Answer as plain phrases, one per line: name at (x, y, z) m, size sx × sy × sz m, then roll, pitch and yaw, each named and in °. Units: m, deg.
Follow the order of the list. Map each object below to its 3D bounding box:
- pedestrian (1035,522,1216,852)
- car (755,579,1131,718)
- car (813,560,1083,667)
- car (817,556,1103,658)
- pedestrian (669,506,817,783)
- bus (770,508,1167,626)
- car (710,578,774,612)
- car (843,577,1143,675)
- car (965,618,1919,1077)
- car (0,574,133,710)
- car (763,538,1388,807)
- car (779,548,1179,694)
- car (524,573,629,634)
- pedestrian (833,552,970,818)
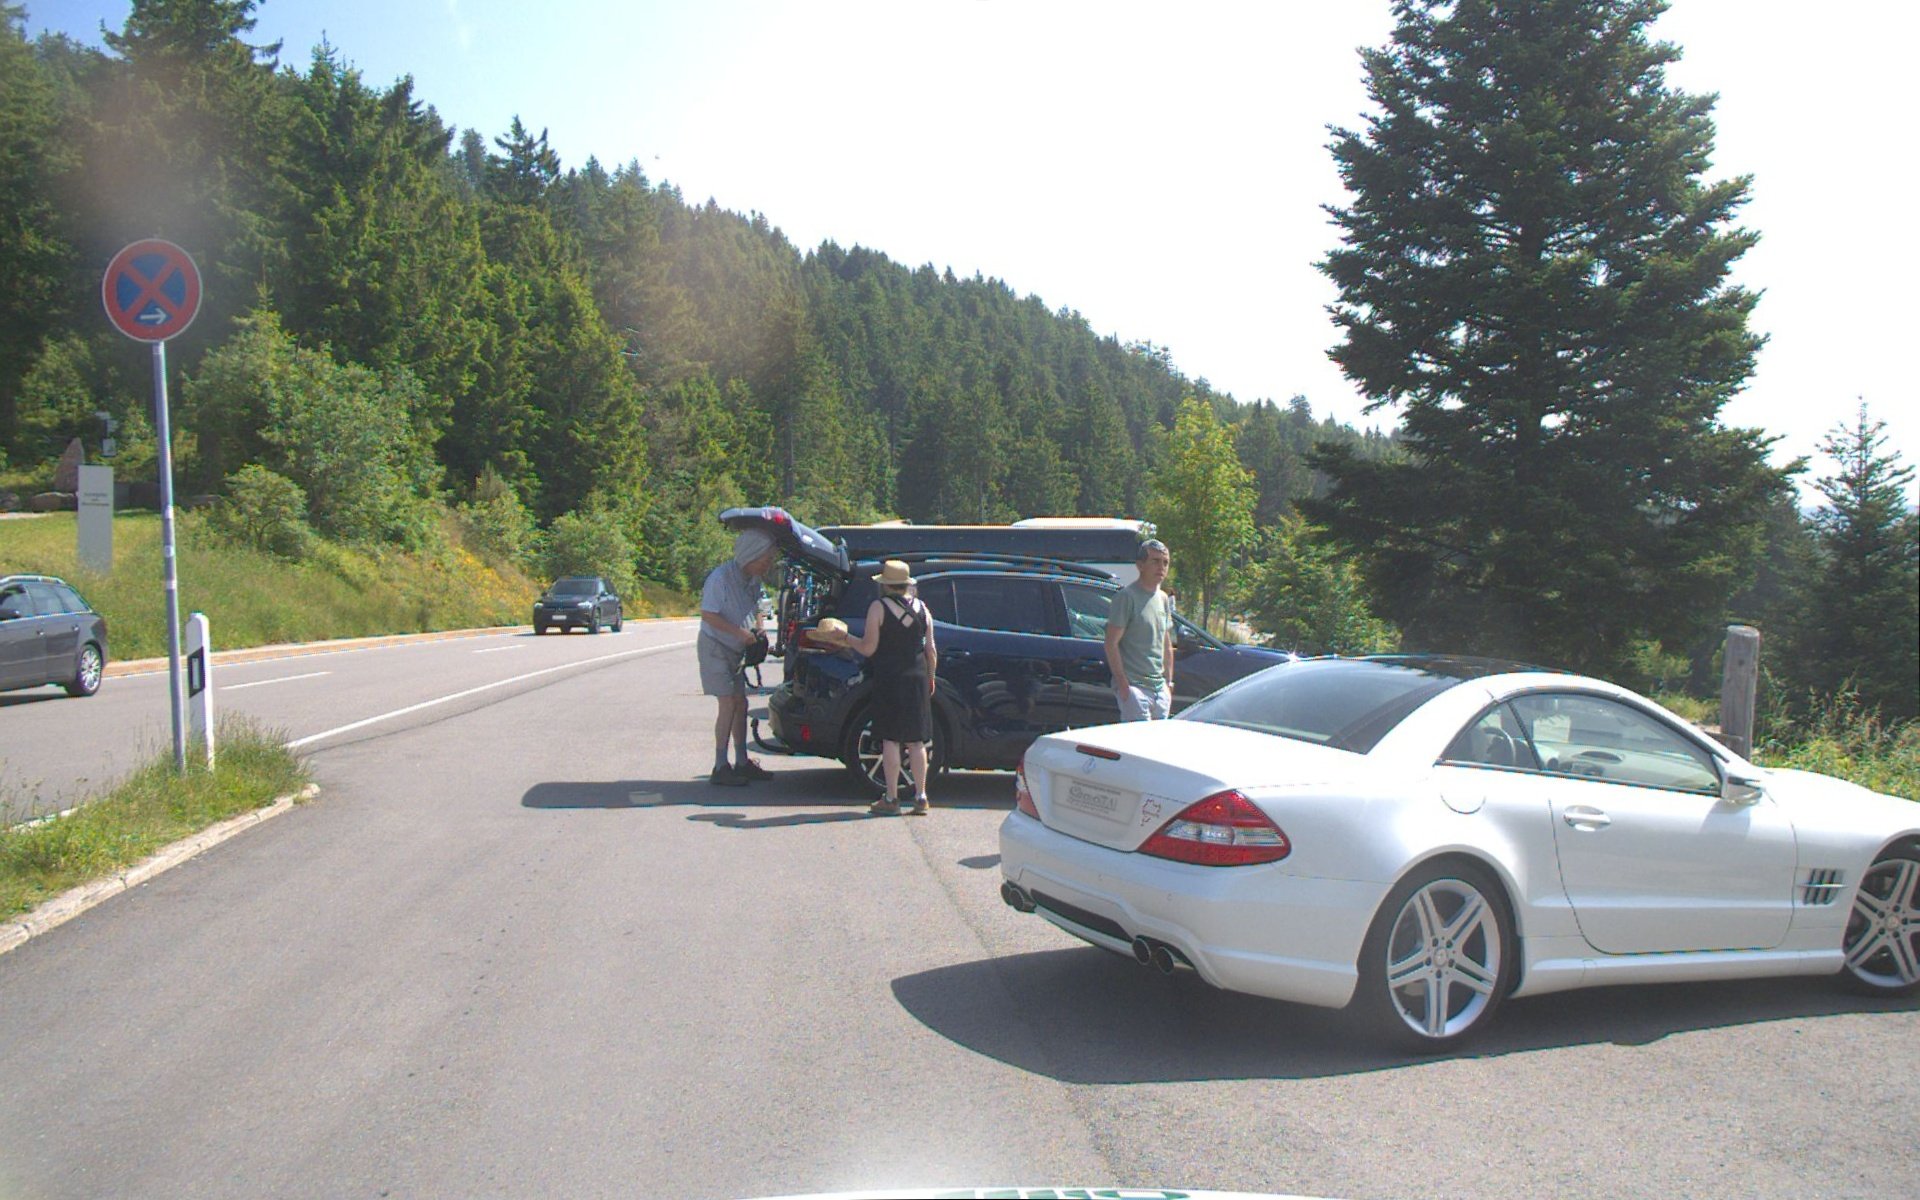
pedestrian at (0.966, 0.487, 9.697) m, size 0.740 × 1.831 × 0.727 m, roll 2°, pitch -1°, yaw -35°
car at (-0.247, 0.532, 18.690) m, size 4.007 × 1.400 × 1.698 m, roll 2°, pitch 0°, yaw -10°
car at (-0.221, 0.198, 26.490) m, size 4.159 × 1.581 × 1.837 m, roll -1°, pitch 1°, yaw -3°
car at (-0.042, 0.101, 29.620) m, size 4.934 × 1.680 × 2.047 m, roll -1°, pitch 1°, yaw -3°
pedestrian at (-1.557, 0.286, 11.914) m, size 0.721 × 1.903 × 0.757 m, roll 3°, pitch 3°, yaw 27°
bus at (0.373, -1.048, 54.867) m, size 12.815 × 3.594 × 3.046 m, roll -1°, pitch 1°, yaw 7°
car at (-10.007, -0.239, 76.292) m, size 1.839 × 1.500 × 4.718 m, roll 0°, pitch 1°, yaw 7°
car at (0.423, 0.343, 23.842) m, size 4.159 × 1.291 × 1.837 m, roll -1°, pitch 1°, yaw -3°
car at (2.359, 0.837, 6.793) m, size 4.344 × 1.318 × 1.741 m, roll 2°, pitch 1°, yaw -27°
car at (-11.246, 0.458, 18.762) m, size 1.672 × 1.463 × 4.447 m, roll -1°, pitch 1°, yaw -3°
car at (0.746, 0.522, 12.242) m, size 4.263 × 1.654 × 1.866 m, roll 3°, pitch -1°, yaw -9°
car at (0.223, 0.240, 21.032) m, size 4.848 × 1.725 × 1.945 m, roll 0°, pitch 1°, yaw -1°
car at (-11.251, 0.063, 48.883) m, size 1.952 × 1.676 × 4.568 m, roll -1°, pitch 1°, yaw 1°
pedestrian at (-0.376, 0.528, 10.582) m, size 0.704 × 1.641 × 0.533 m, roll 1°, pitch -1°, yaw -24°
